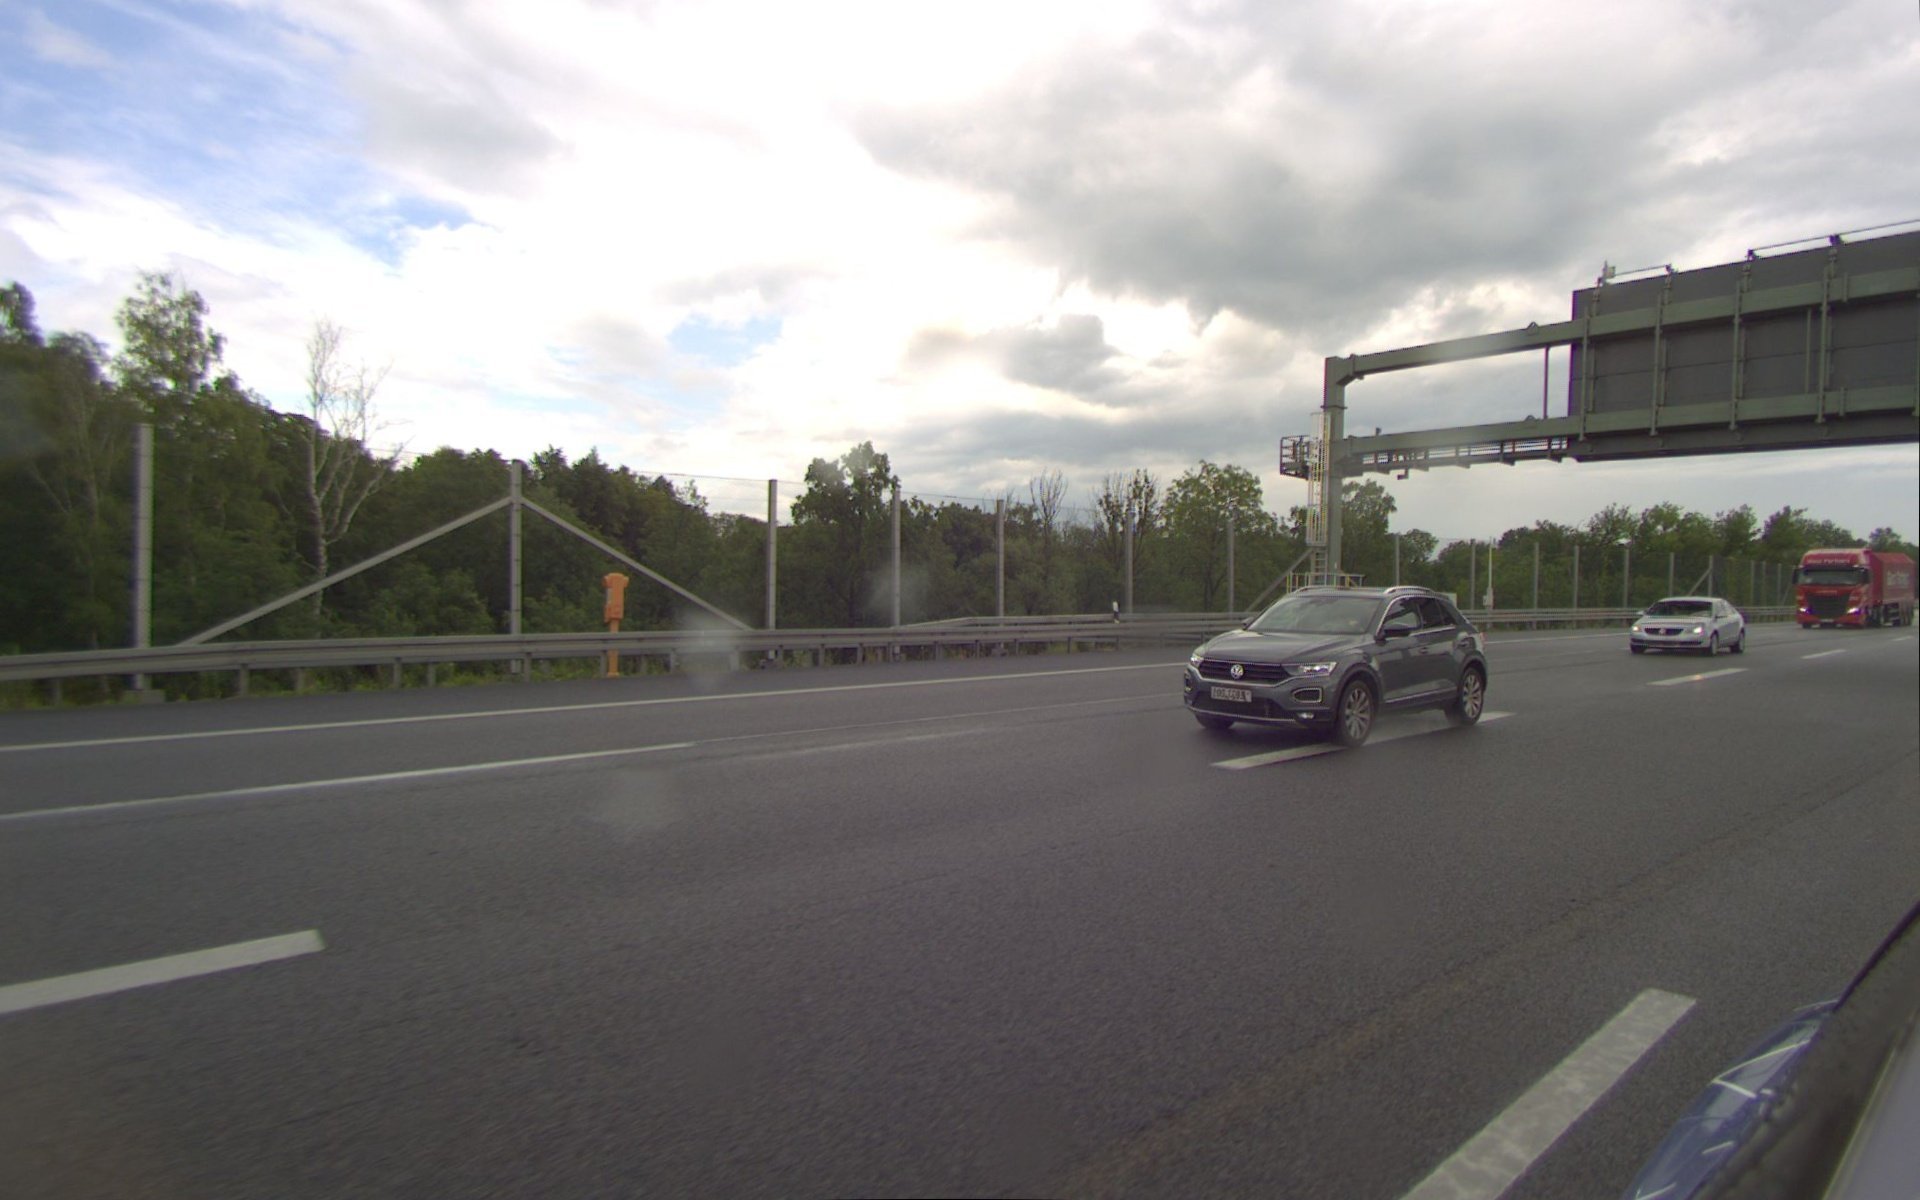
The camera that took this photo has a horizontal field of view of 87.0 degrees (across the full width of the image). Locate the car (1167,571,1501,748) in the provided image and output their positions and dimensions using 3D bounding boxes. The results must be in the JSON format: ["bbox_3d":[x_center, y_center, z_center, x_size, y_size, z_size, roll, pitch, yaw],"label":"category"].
[{"bbox_3d":[4.112,0.522,10.921,3.655,1.582,1.796,0,1,-39],"label":"car"}]

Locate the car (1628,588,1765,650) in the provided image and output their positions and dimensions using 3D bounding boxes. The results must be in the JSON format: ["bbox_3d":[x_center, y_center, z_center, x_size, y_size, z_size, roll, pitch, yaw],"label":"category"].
[{"bbox_3d":[19.151,0.454,26.271,4.169,1.465,1.897,1,0,-40],"label":"car"}]

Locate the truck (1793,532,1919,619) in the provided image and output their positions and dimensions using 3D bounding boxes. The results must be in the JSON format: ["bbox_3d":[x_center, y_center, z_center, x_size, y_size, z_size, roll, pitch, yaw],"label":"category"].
[{"bbox_3d":[47.867,-1.095,53.403,15.355,4.054,3.159,1,0,-40],"label":"truck"}]
